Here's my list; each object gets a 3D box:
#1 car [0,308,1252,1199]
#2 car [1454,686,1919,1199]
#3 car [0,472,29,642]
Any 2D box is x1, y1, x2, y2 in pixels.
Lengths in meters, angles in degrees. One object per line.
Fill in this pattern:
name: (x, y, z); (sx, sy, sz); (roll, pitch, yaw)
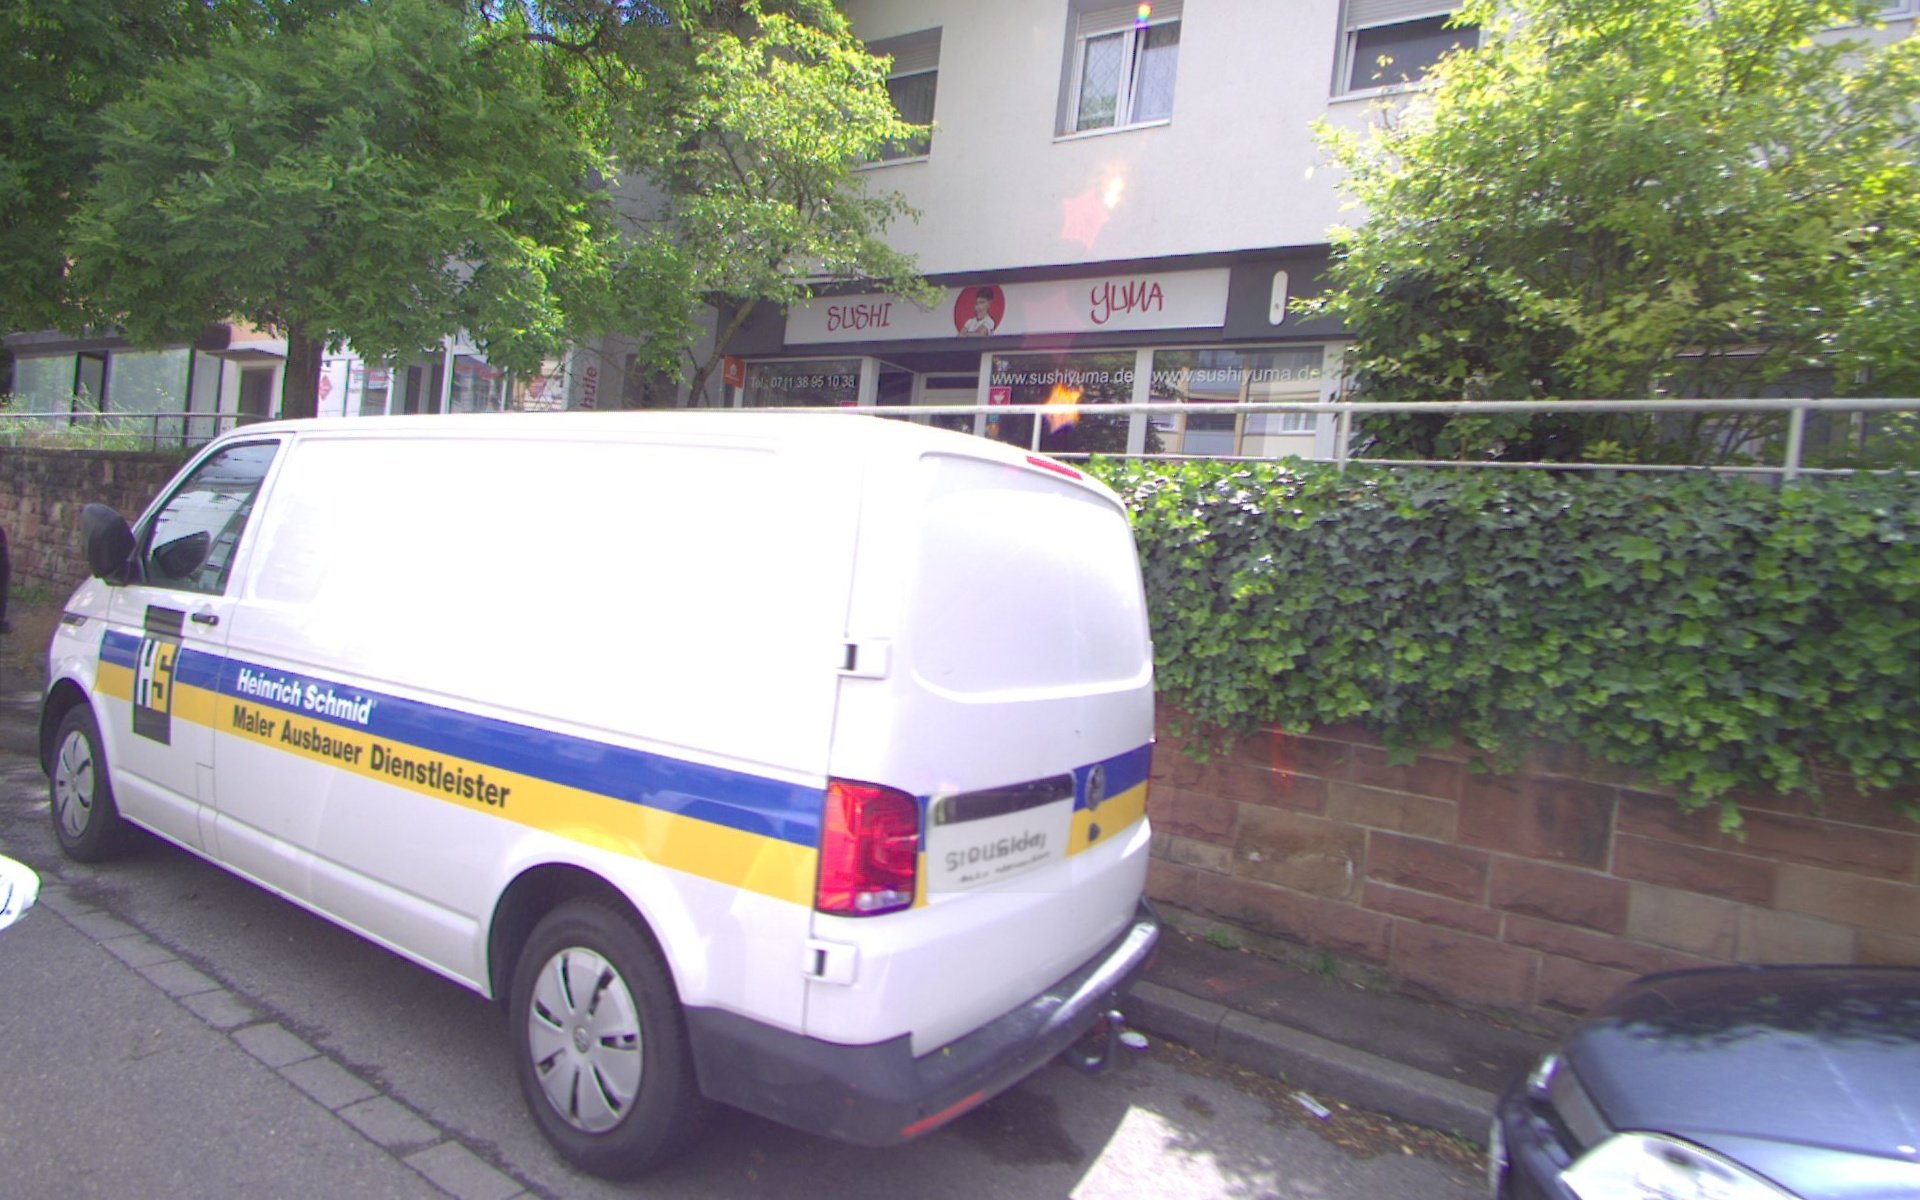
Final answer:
car: (-1.669, 0.303, 4.030); (4.931, 1.994, 1.975); (6, 0, 33)
car: (2.743, 1.089, 1.265); (3.674, 1.446, 1.576); (6, 0, 33)
car: (-11.482, -0.648, 10.275); (4.374, 1.639, 1.790); (6, 2, 32)
